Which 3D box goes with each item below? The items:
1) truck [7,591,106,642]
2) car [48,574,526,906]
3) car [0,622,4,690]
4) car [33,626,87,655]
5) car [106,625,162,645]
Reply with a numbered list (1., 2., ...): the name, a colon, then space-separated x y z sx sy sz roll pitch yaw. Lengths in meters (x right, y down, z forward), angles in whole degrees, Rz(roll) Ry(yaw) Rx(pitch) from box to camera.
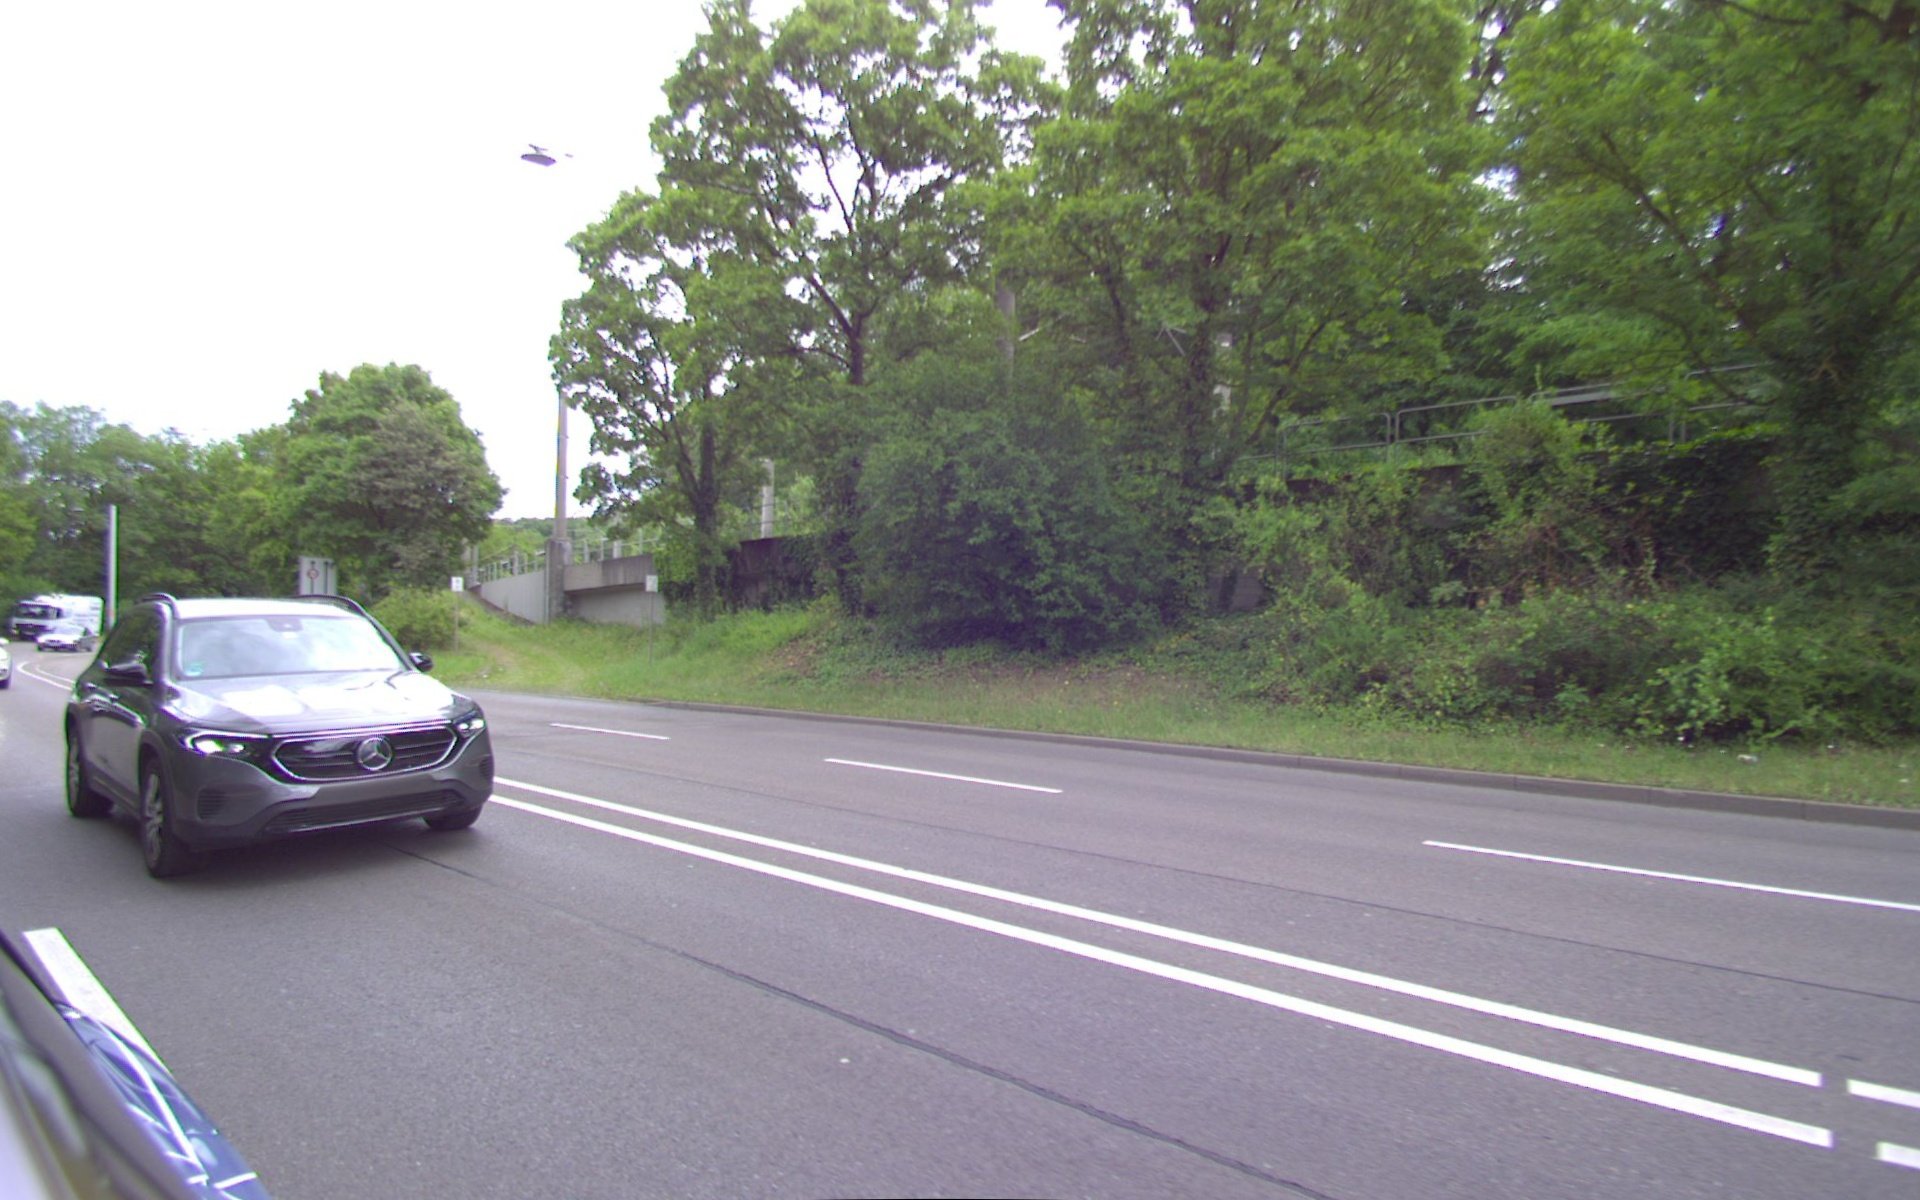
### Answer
1. truck: -60.427 1.184 67.909 2.164 3.180 6.670 2 -3 -16
2. car: -4.990 0.749 7.234 4.356 1.664 1.830 -1 -1 42
3. car: -22.325 1.223 22.186 3.731 1.435 1.666 -1 -1 42
4. car: -47.538 2.116 53.528 1.637 1.401 4.192 5 -4 -36
5. car: -62.804 2.696 76.998 1.727 1.372 4.021 4 -4 -15
